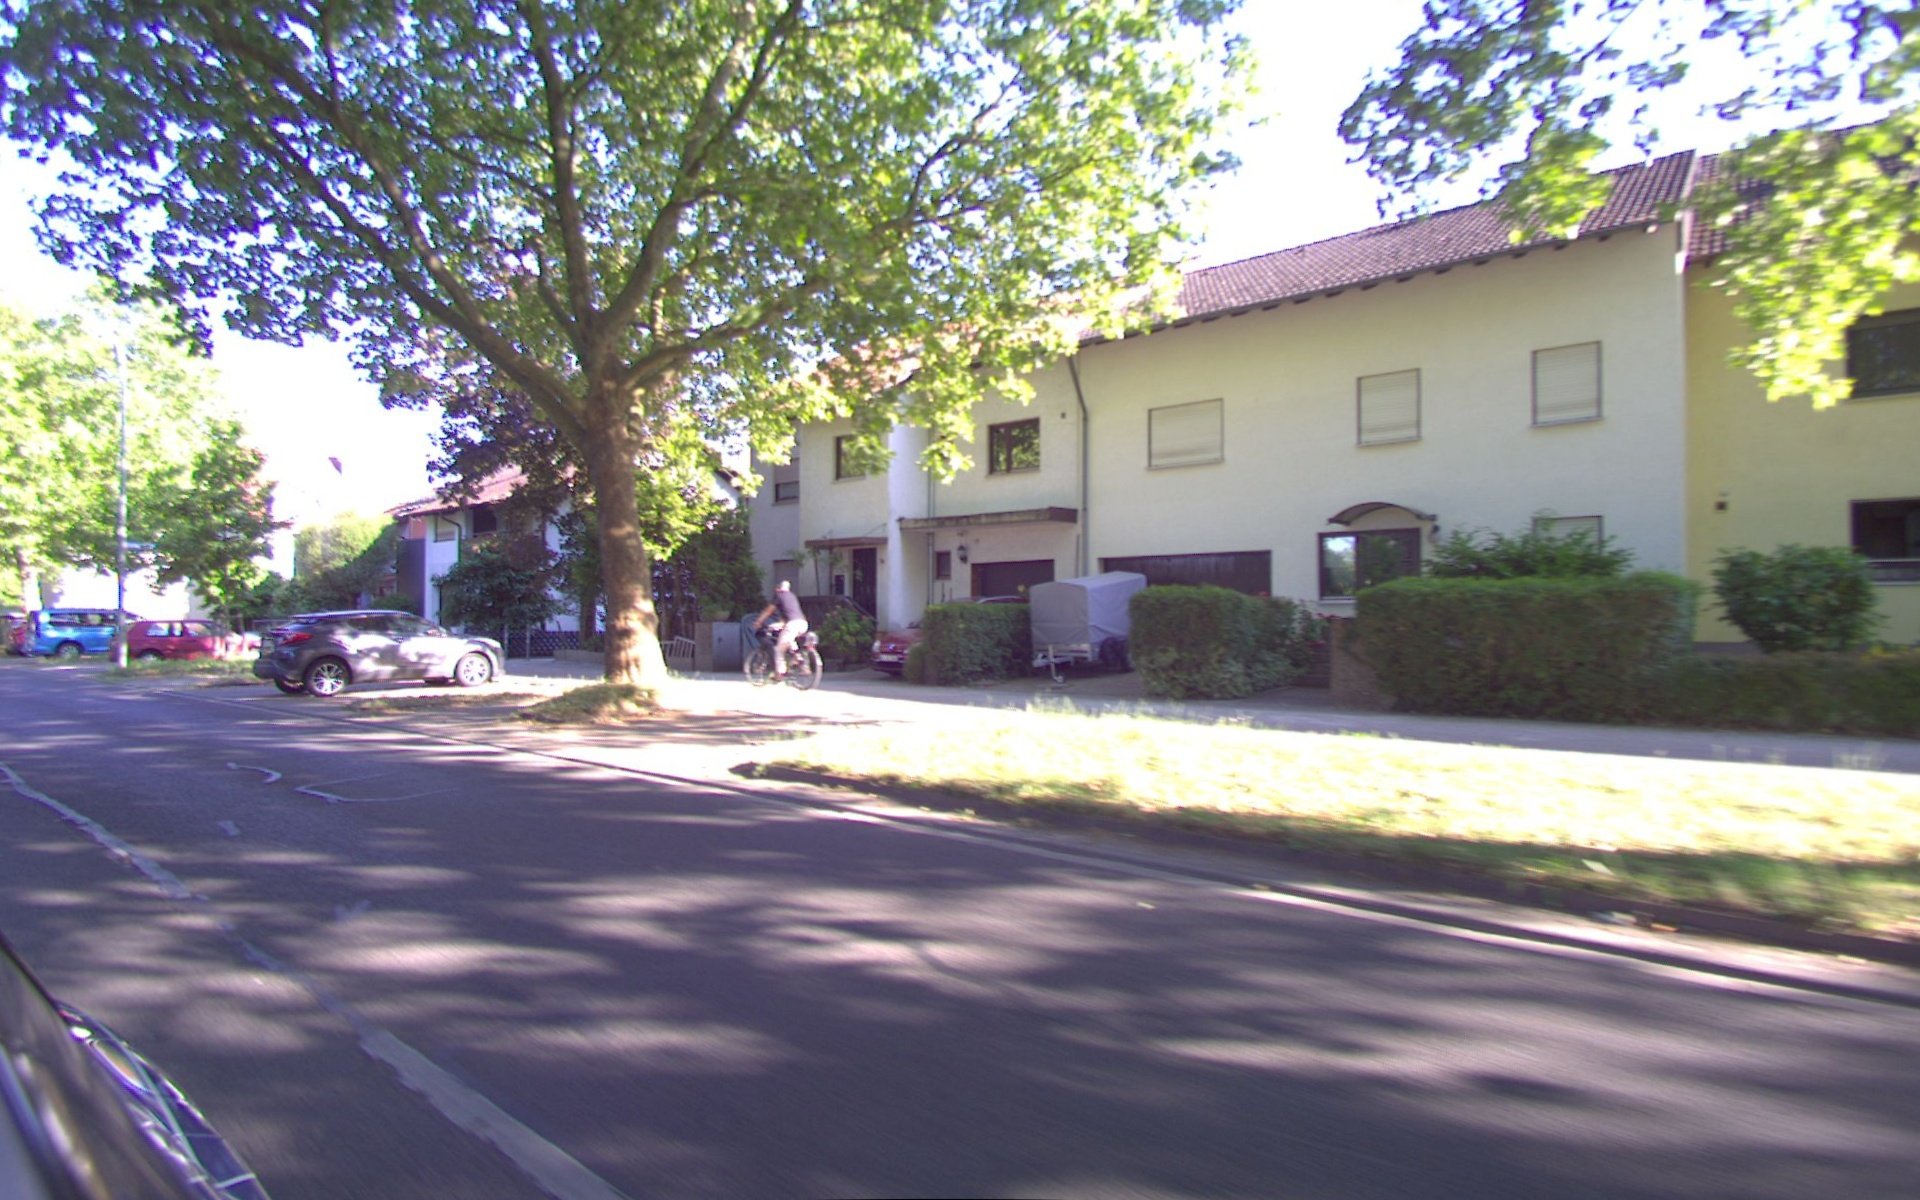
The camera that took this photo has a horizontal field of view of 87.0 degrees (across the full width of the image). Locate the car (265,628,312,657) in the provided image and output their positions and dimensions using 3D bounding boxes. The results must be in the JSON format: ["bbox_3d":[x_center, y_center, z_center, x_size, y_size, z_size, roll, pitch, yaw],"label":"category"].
[{"bbox_3d":[-28.154,1.757,42.425,0.699,1.125,1.499,-1,0,38],"label":"car"}]

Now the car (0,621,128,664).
[{"bbox_3d":[-35.342,1.638,39.939,1.779,1.528,3.608,-1,-1,37],"label":"car"}]

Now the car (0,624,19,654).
[{"bbox_3d":[-52.658,2.096,53.696,1.827,1.546,3.732,-1,-1,35],"label":"car"}]

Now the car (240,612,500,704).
[{"bbox_3d":[-11.209,1.030,19.441,1.815,1.530,3.949,-1,-1,38],"label":"car"}]

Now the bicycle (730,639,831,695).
[{"bbox_3d":[-3.140,1.135,17.551,2.154,0.887,0.465,-1,-1,41],"label":"bicycle"}]

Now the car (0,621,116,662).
[{"bbox_3d":[-37.068,1.673,41.465,1.722,1.528,3.483,-1,0,33],"label":"car"}]

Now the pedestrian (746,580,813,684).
[{"bbox_3d":[-3.118,0.543,17.459,1.065,1.729,0.610,-1,-1,41],"label":"pedestrian"}]

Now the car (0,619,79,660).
[{"bbox_3d":[-41.196,1.695,44.034,1.828,1.729,4.053,-1,-1,37],"label":"car"}]

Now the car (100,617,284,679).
[{"bbox_3d":[-21.584,1.291,28.573,1.662,1.530,3.837,0,0,36],"label":"car"}]

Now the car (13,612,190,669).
[{"bbox_3d":[-29.562,1.338,34.970,1.992,1.838,4.346,-1,-1,36],"label":"car"}]

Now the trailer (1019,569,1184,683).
[{"bbox_3d":[2.901,0.466,20.251,1.641,1.940,3.420,-3,1,39],"label":"trailer"}]

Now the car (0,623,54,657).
[{"bbox_3d":[-45.200,1.883,47.175,1.871,1.512,4.125,-1,-1,35],"label":"car"}]

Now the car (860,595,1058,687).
[{"bbox_3d":[0.059,0.775,21.072,1.999,1.487,3.947,-1,3,40],"label":"car"}]
